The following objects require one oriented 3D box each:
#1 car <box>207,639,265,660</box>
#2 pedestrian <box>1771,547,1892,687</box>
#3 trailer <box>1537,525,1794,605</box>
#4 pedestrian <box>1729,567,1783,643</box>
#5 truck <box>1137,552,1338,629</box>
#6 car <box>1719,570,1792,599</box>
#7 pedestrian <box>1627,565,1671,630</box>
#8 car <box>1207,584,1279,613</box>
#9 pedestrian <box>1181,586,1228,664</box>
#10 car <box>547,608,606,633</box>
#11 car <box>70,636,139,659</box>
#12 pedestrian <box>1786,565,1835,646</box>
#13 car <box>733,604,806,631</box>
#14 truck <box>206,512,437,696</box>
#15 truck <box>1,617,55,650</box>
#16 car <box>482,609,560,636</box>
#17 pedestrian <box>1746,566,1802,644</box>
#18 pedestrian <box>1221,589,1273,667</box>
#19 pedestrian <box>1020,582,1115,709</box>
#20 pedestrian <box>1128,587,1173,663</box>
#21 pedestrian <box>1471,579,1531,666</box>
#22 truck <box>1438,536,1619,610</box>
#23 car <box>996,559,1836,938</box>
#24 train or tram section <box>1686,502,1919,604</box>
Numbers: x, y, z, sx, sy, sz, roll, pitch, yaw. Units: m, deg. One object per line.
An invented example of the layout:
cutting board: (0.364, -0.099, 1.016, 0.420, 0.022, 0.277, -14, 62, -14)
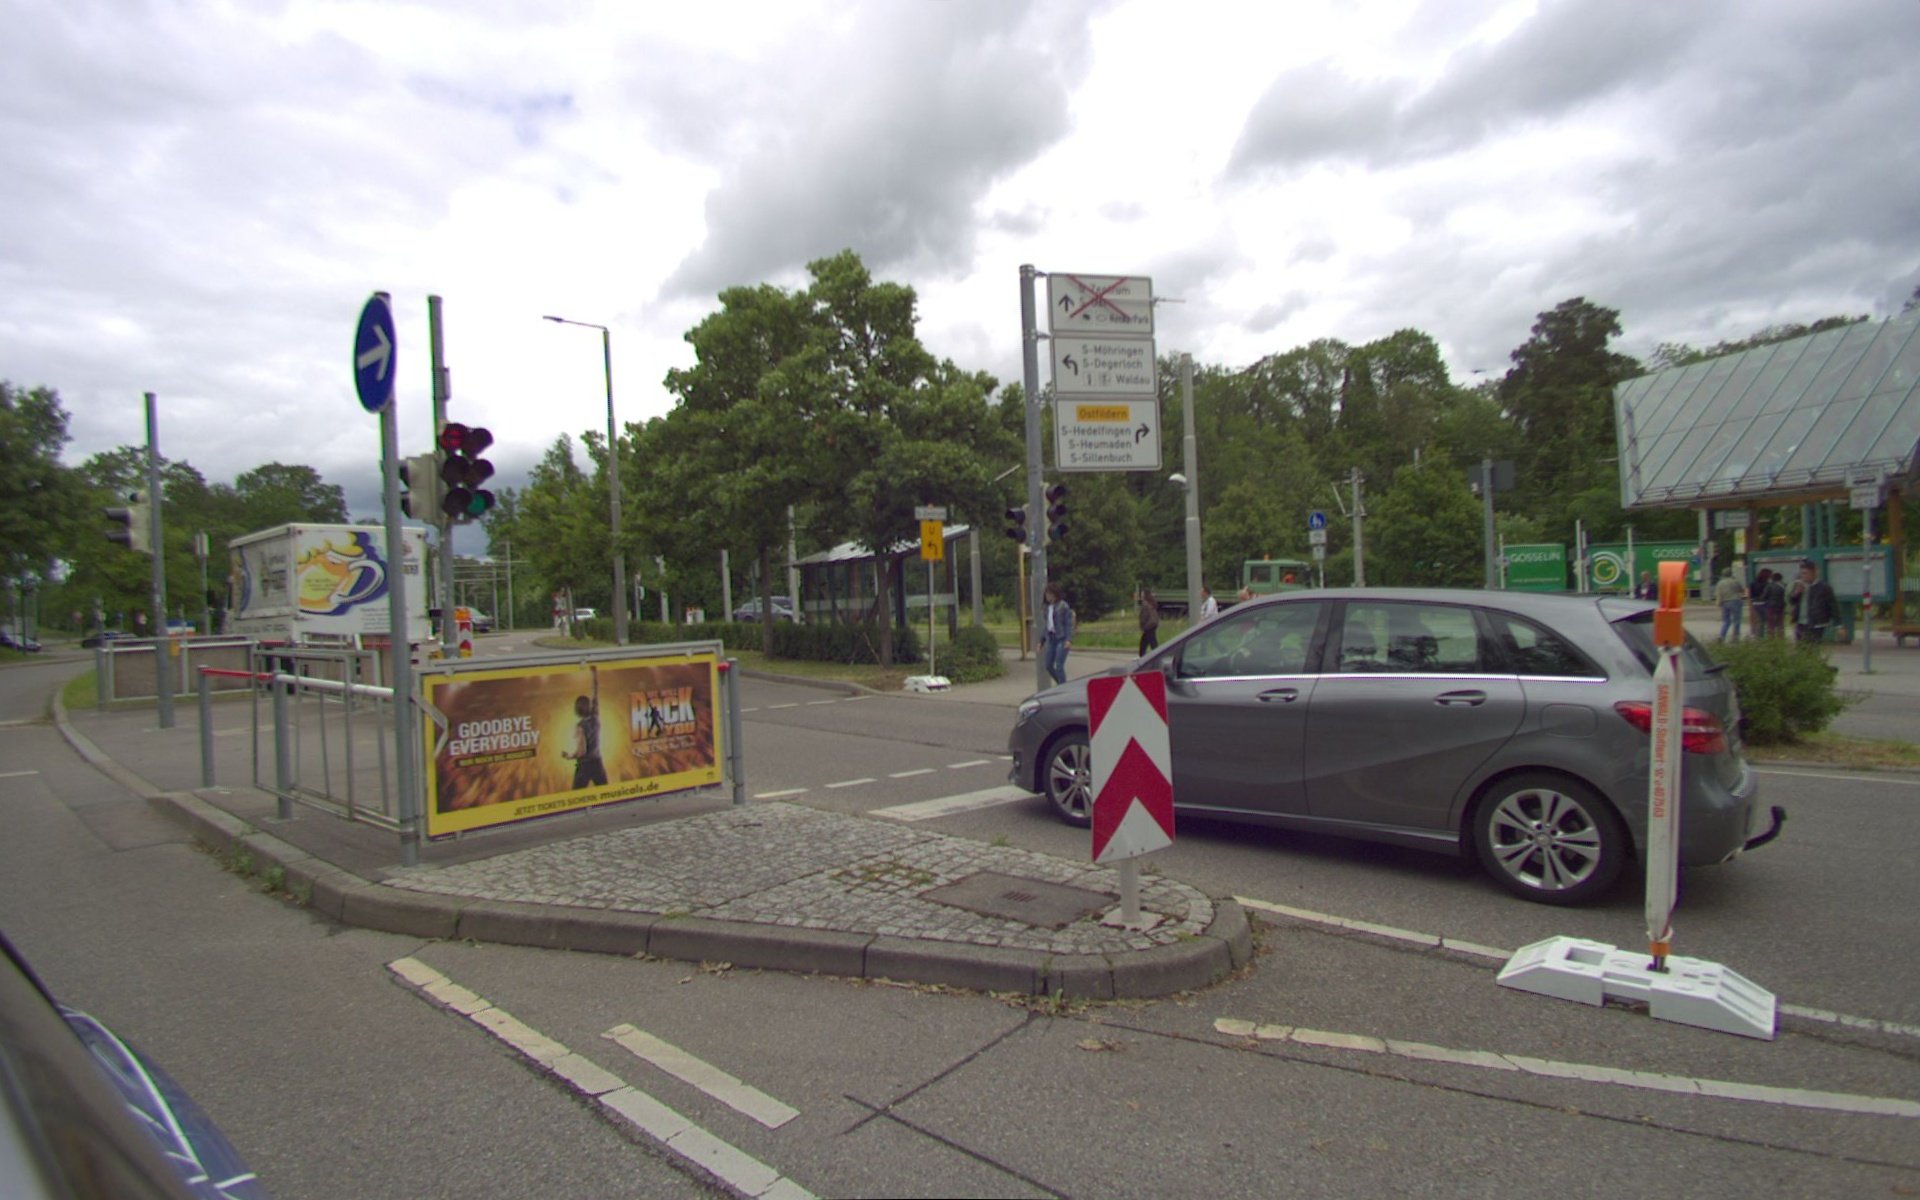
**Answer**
car: (-59.712, 4.095, 83.464, 3.803, 1.346, 1.658, -3, 5, 13)
pedestrian: (12.011, 0.227, 13.962, 0.978, 1.822, 0.768, -3, 0, -13)
trailer: (41.411, -1.977, 59.977, 11.750, 3.910, 3.773, -3, 1, 13)
pedestrian: (17.571, 0.109, 22.348, 0.663, 1.637, 0.585, -3, 0, -12)
truck: (9.369, -0.296, 34.286, 6.253, 2.186, 2.591, -3, 1, 19)
car: (44.182, -0.857, 56.243, 2.715, 1.486, 1.494, -3, 1, 11)
pedestrian: (17.979, -0.053, 26.407, 0.770, 1.637, 0.774, -3, 1, 44)
car: (16.980, -0.078, 60.858, 3.958, 1.499, 1.763, -3, 1, 11)
pedestrian: (5.454, 0.546, 22.607, 0.860, 1.678, 0.684, -3, 0, 7)
car: (-29.638, 1.575, 78.233, 3.752, 1.735, 1.853, -3, 1, 11)
car: (-73.009, 4.076, 86.390, 4.395, 1.607, 1.878, -3, 1, 5)
pedestrian: (17.597, 0.114, 20.939, 0.663, 1.637, 0.585, -3, 1, -37)
car: (-12.572, 1.152, 66.937, 4.343, 1.447, 1.791, -3, 1, 11)
truck: (-13.452, 0.139, 21.102, 6.206, 3.263, 2.600, -2, -2, 43)
truck: (-100.638, 3.568, 109.372, 2.701, 3.235, 6.694, -3, 1, -29)
car: (-31.011, 1.584, 71.493, 4.863, 1.599, 1.949, -3, 1, 15)
pedestrian: (17.510, 0.106, 21.780, 0.663, 1.637, 0.585, -3, 0, -12)
pedestrian: (6.003, 0.581, 21.221, 0.764, 1.563, 0.792, -3, 0, -1)
pedestrian: (1.499, 0.611, 14.259, 0.895, 1.689, 1.097, -1, 0, -21)
pedestrian: (4.119, 0.528, 21.857, 0.628, 1.557, 0.767, -1, 2, 39)
pedestrian: (9.935, 0.415, 18.579, 0.872, 1.536, 0.760, -3, 0, 31)
truck: (34.413, -1.614, 61.691, 8.684, 3.910, 3.773, -3, 1, 13)
car: (2.452, 0.619, 6.158, 4.305, 1.520, 1.789, -1, -1, 41)
train or tram section: (48.187, -2.592, 51.674, 18.453, 4.567, 3.580, -3, 0, 6)
